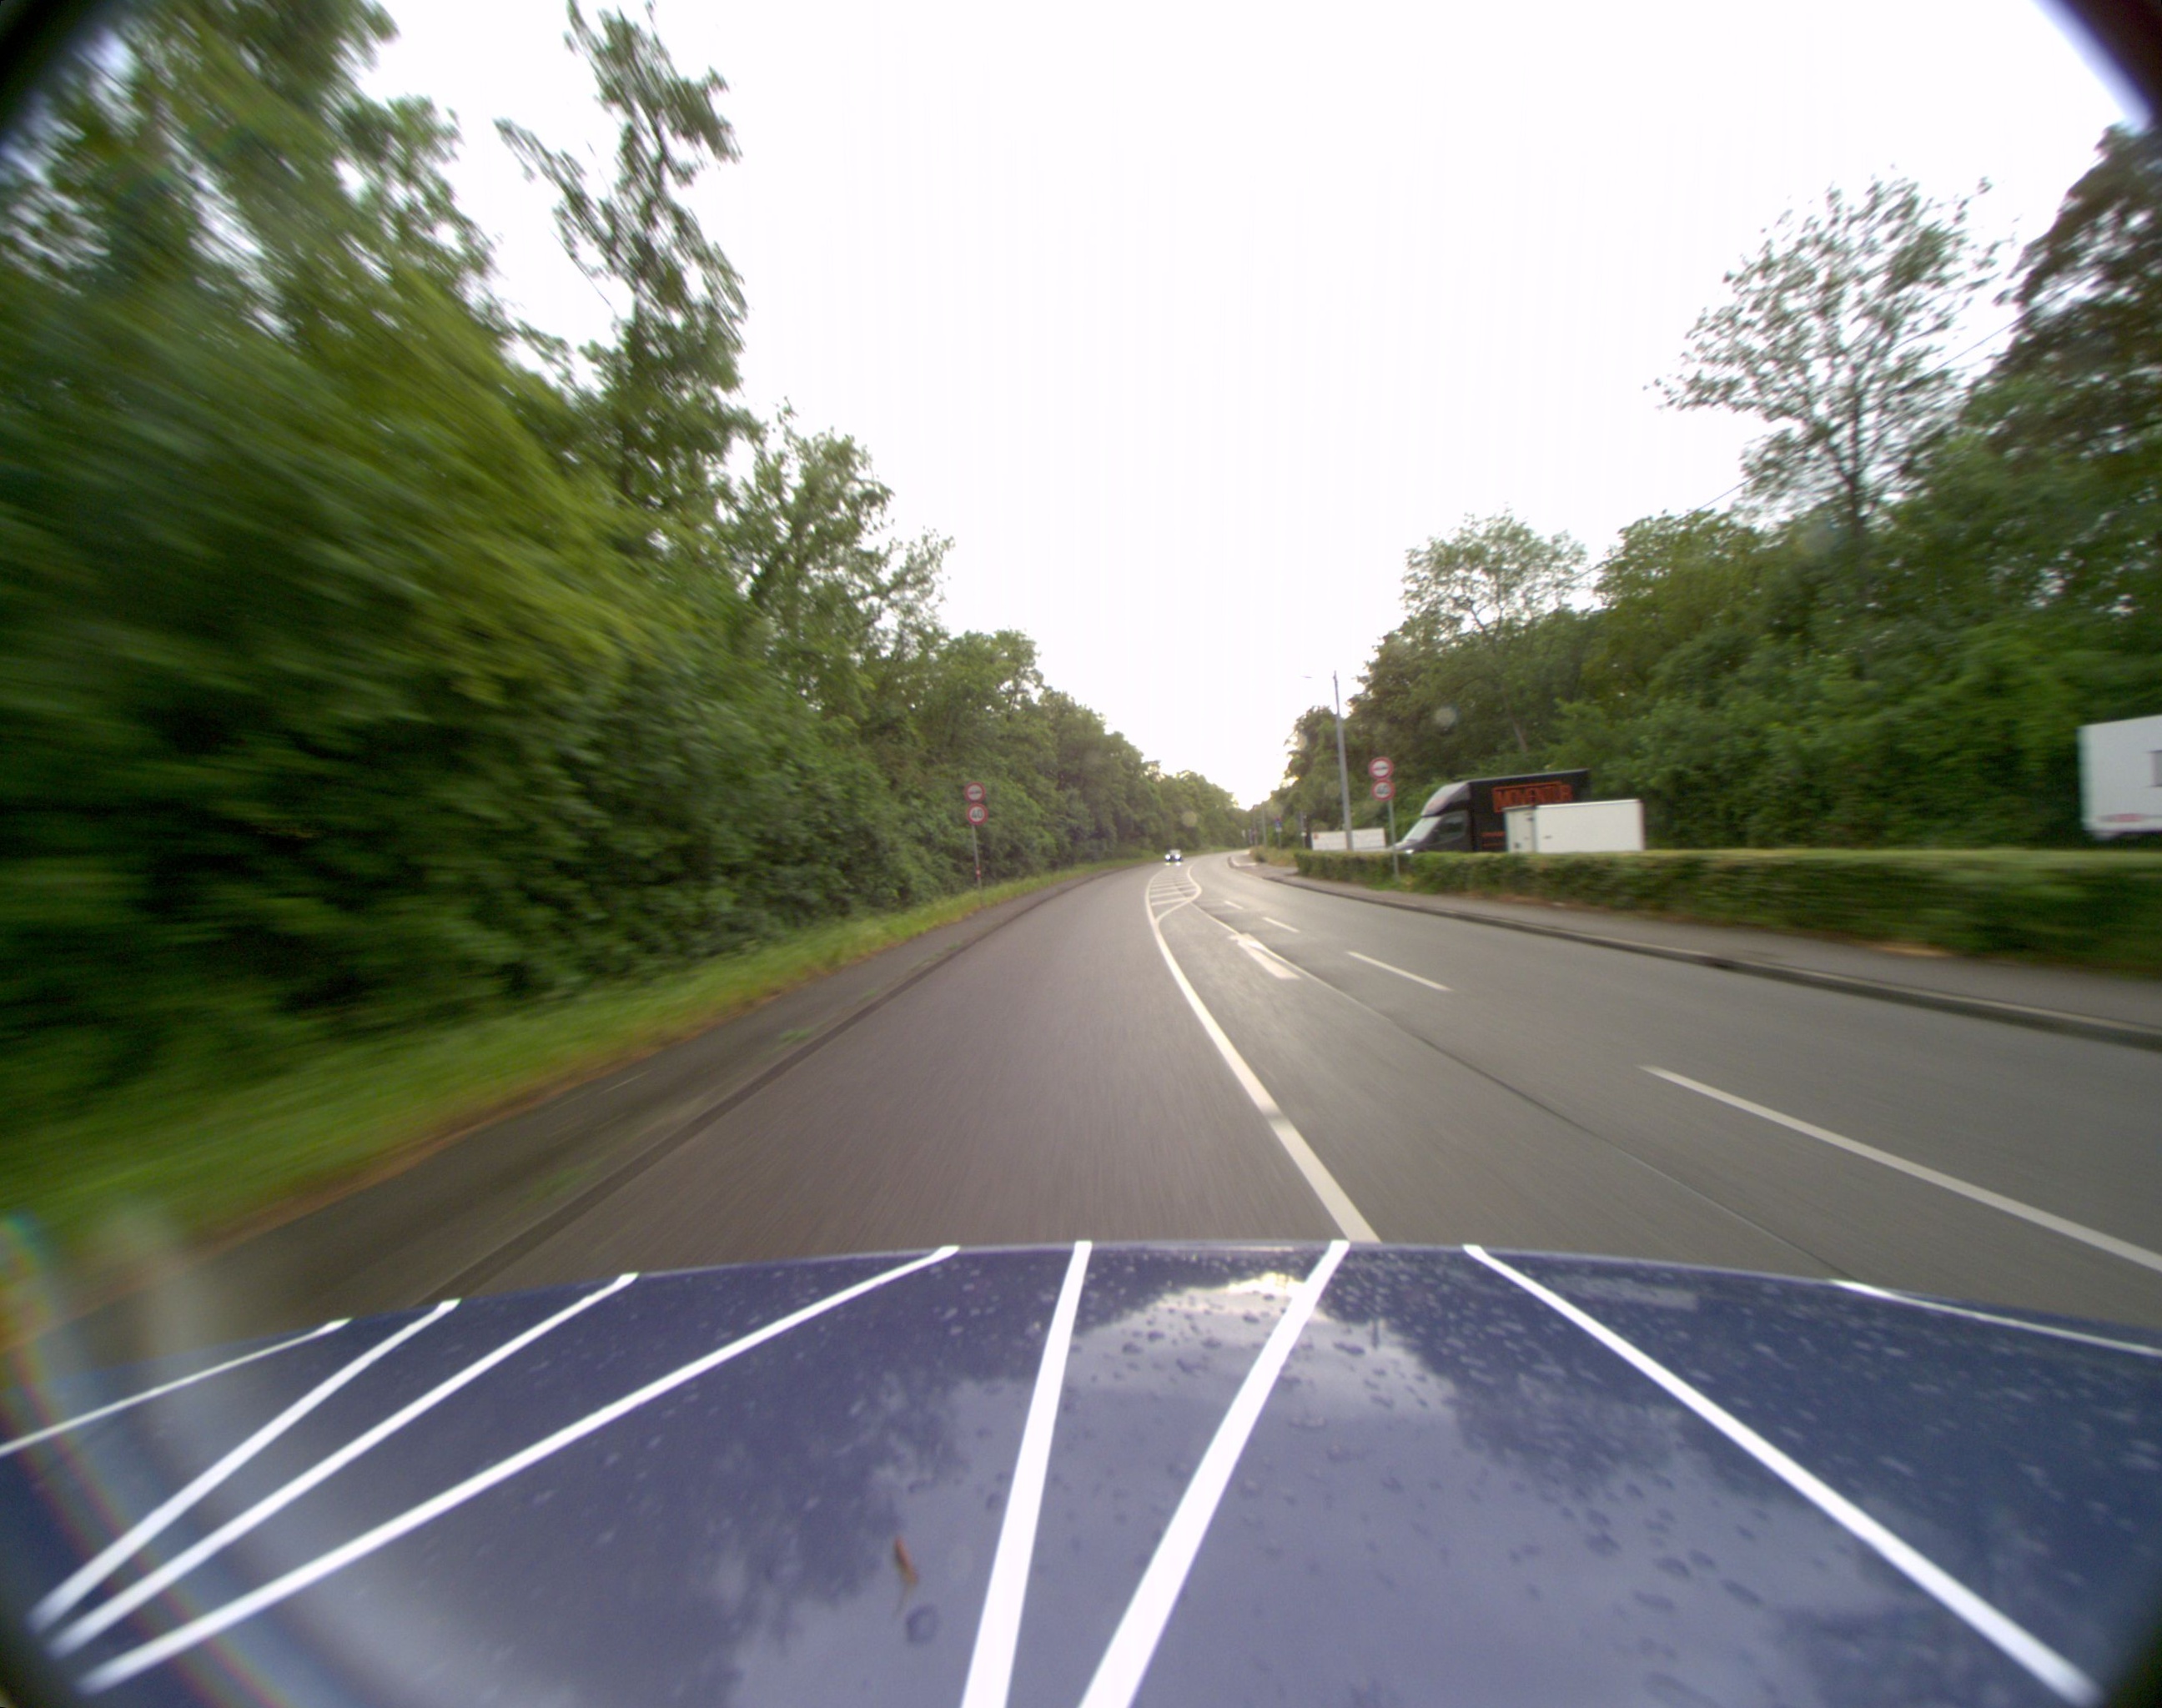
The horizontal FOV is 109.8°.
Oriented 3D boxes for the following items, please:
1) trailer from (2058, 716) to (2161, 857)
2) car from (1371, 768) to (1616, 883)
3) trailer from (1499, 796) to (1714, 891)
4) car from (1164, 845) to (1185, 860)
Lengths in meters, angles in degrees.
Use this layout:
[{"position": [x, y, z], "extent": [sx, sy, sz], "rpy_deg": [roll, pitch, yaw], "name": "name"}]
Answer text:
[{"position": [23.213, -1.413, 13.089], "extent": [2.482, 2.857, 7.976], "rpy_deg": [-3, 1, 0], "name": "trailer"}, {"position": [13.075, -0.887, 24.484], "extent": [6.288, 3.096, 2.751], "rpy_deg": [-4, 2, 0], "name": "car"}, {"position": [13.023, -0.254, 19.049], "extent": [3.996, 2.041, 1.873], "rpy_deg": [-3, 1, 3], "name": "trailer"}, {"position": [11.271, -0.189, 91.526], "extent": [1.997, 1.674, 4.003], "rpy_deg": [-3, 1, 13], "name": "car"}]
